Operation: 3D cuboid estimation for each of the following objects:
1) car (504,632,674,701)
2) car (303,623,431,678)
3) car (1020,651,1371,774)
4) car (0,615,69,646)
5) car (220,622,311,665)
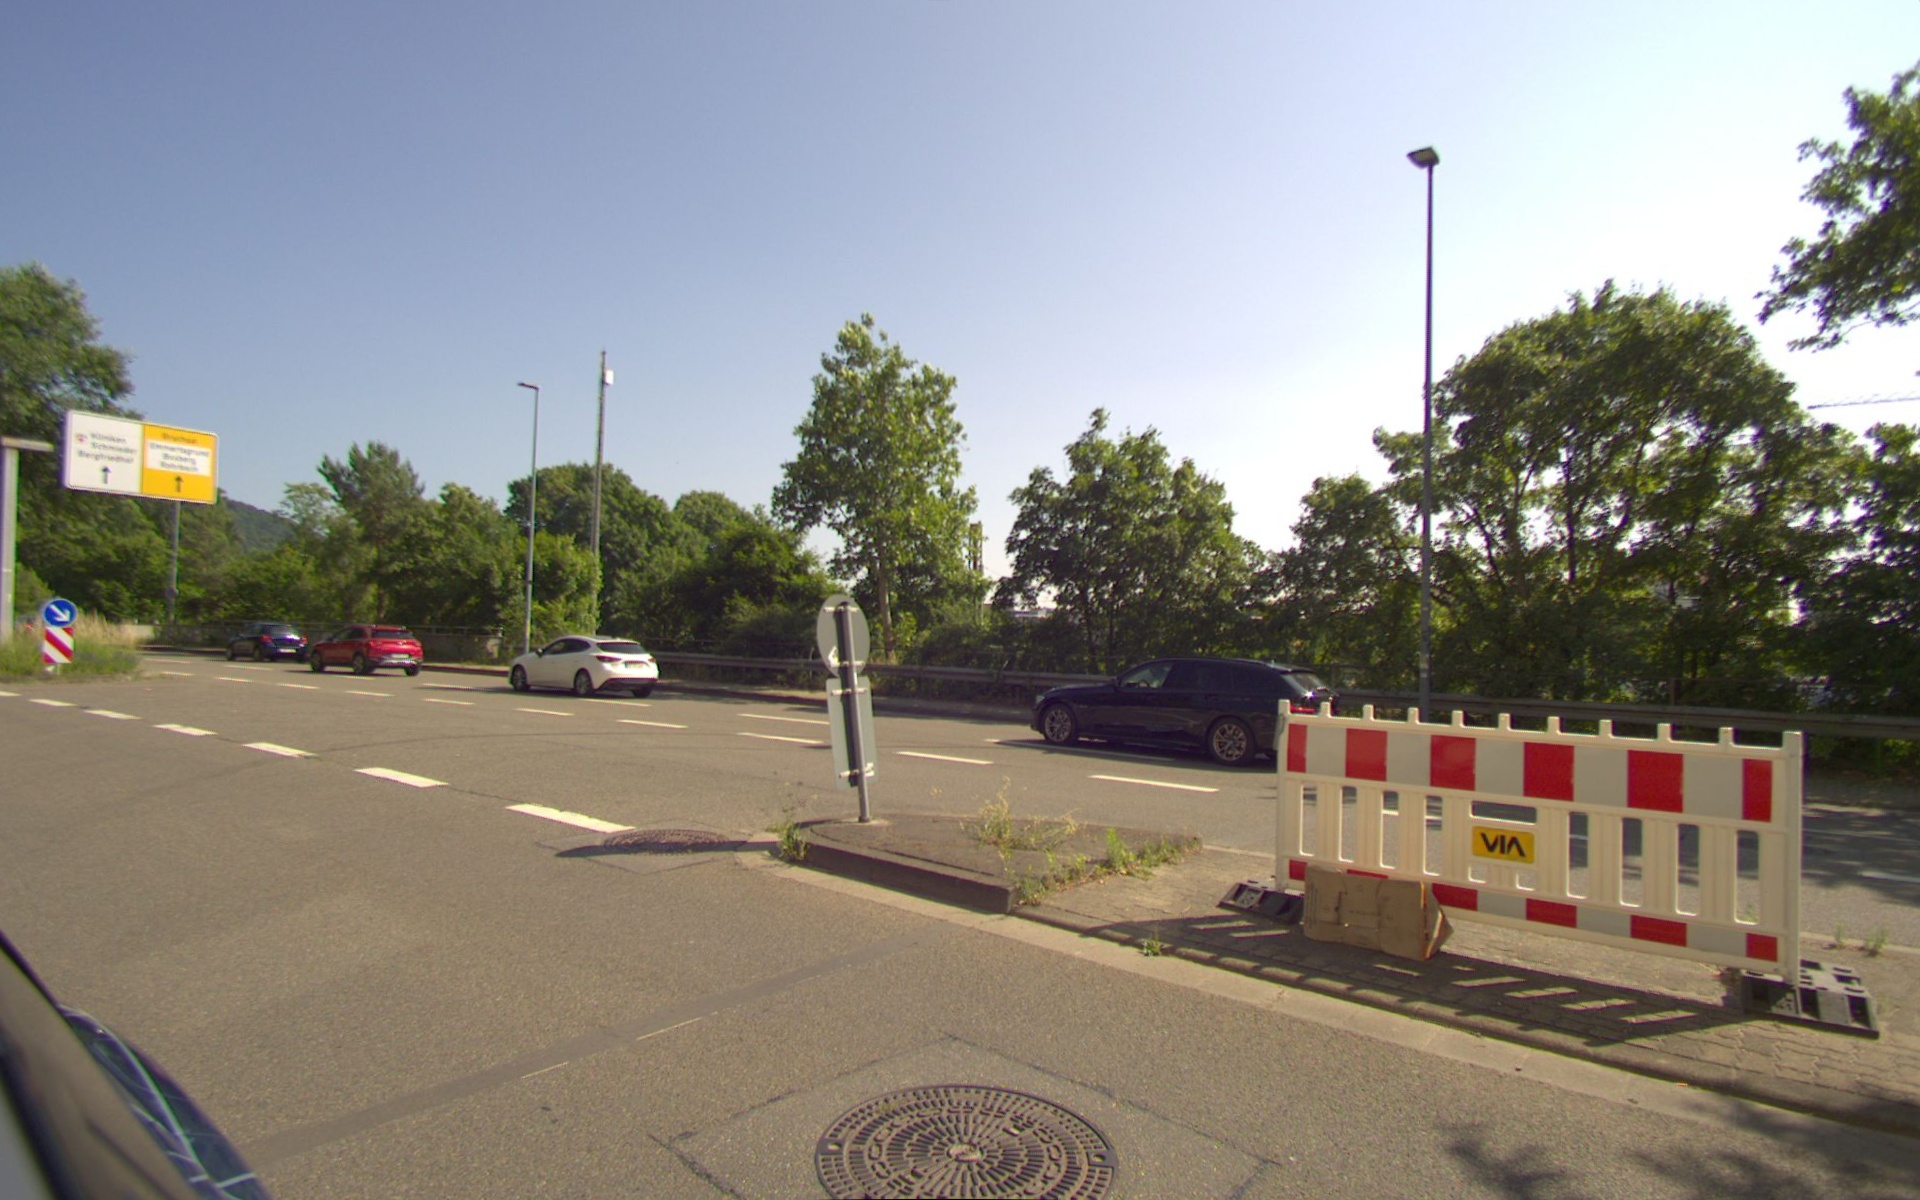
[{"bbox_3d":[-9.071,1.587,24.627,4.197,1.464,1.847,0,-4,37],"label":"car"},{"bbox_3d":[-18.202,1.543,31.016,3.953,1.531,1.782,0,-4,34],"label":"car"},{"bbox_3d":[3.309,1.533,14.791,4.613,1.422,1.973,-1,-4,41],"label":"car"},{"bbox_3d":[-46.612,1.546,50.904,3.565,1.480,1.663,0,-3,32],"label":"car"},{"bbox_3d":[-27.016,1.685,39.328,3.640,1.512,1.627,0,-4,34],"label":"car"}]
